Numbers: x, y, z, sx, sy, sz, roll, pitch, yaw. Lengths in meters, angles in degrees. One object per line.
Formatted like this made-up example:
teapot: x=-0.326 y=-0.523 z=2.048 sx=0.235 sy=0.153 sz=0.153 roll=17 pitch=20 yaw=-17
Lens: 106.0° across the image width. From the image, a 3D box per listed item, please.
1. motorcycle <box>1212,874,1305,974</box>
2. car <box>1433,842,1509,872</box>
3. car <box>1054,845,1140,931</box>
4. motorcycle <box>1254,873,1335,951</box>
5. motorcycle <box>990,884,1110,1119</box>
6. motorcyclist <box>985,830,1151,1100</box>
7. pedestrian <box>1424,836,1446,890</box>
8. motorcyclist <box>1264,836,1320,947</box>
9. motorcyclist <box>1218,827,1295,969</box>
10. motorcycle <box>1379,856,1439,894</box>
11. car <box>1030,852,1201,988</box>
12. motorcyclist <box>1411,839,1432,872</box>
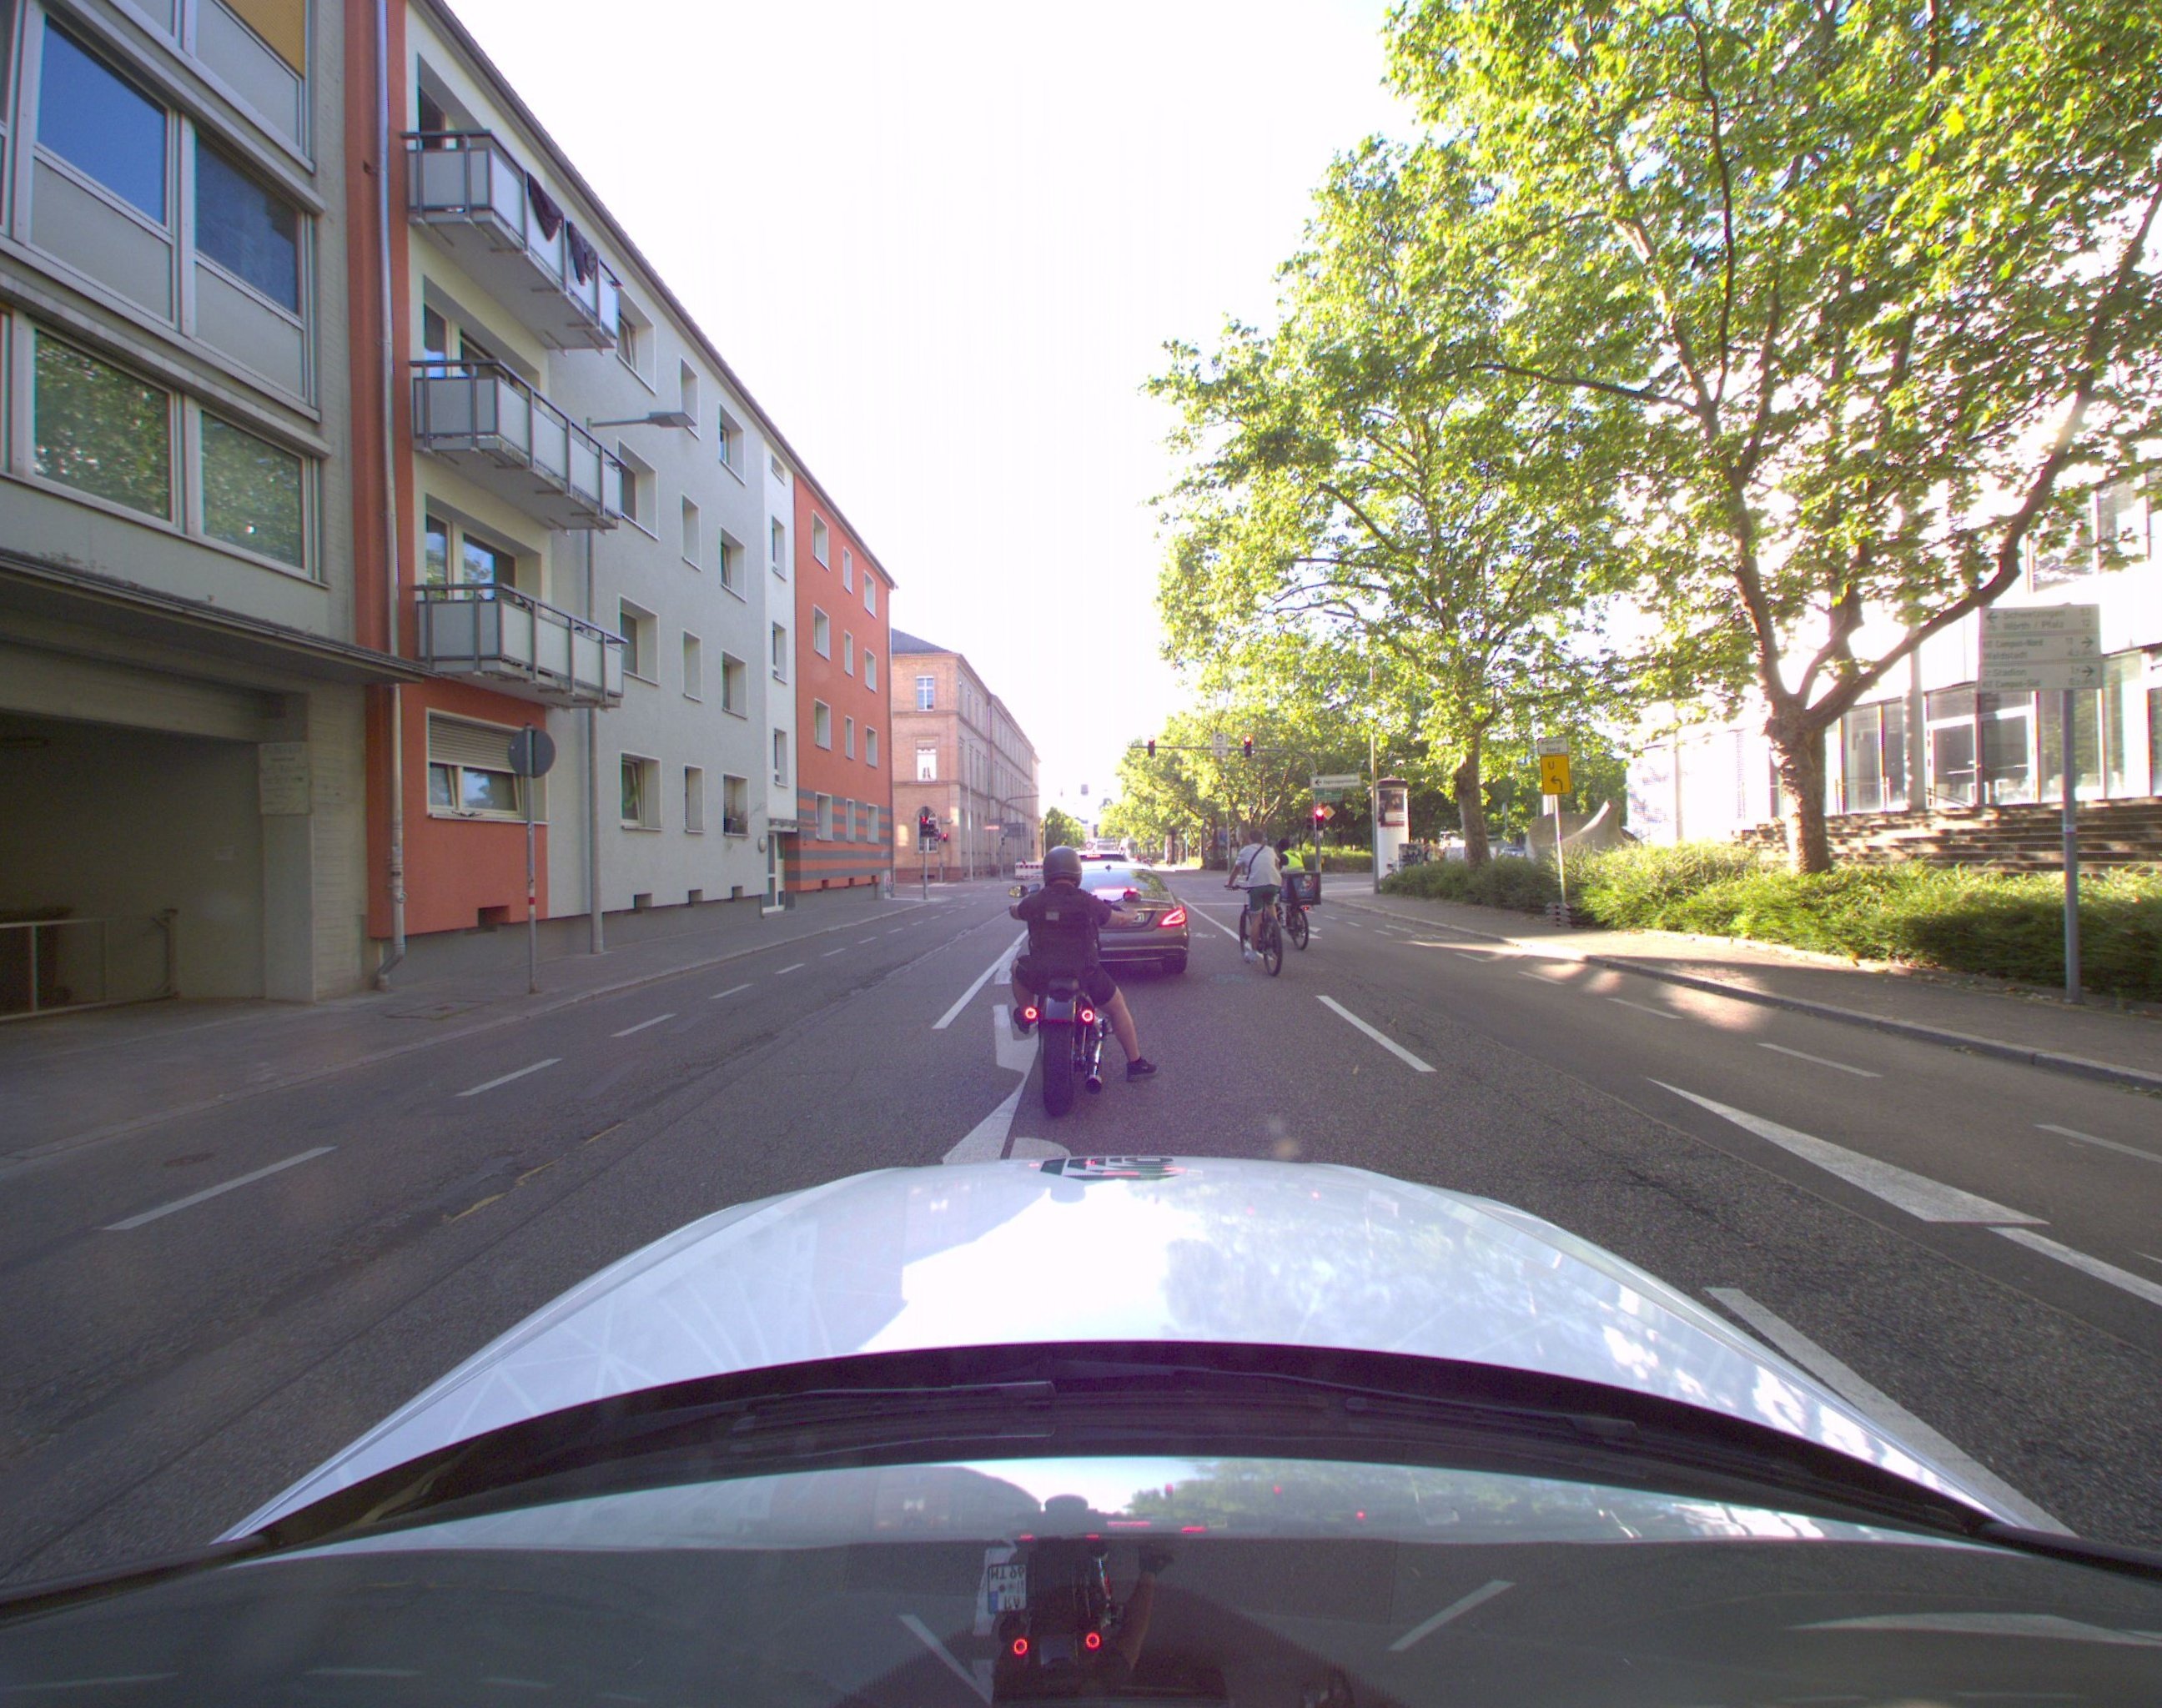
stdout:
motorcycle: x=2.285 y=0.865 z=10.761 sx=0.859 sy=1.168 sz=1.930 roll=0 pitch=-1 yaw=2
car: x=24.629 y=0.205 z=51.521 sx=3.974 sy=1.772 sz=1.738 roll=-1 pitch=0 yaw=-1
car: x=0.374 y=0.665 z=17.723 sx=1.645 sy=1.652 sz=4.002 roll=0 pitch=-1 yaw=2
motorcycle: x=3.461 y=0.898 z=13.410 sx=0.794 sy=1.131 sz=2.237 roll=0 pitch=-1 yaw=2
motorcycle: x=-0.141 y=0.854 z=5.539 sx=0.657 sy=1.240 sz=2.058 roll=0 pitch=-1 yaw=2
motorcyclist: x=-0.061 y=0.670 z=5.446 sx=0.986 sy=1.611 sz=1.121 roll=0 pitch=-1 yaw=1
pedestrian: x=12.157 y=0.296 z=27.983 sx=0.642 sy=1.827 sz=0.671 roll=-1 pitch=0 yaw=23
motorcyclist: x=3.423 y=0.599 z=13.255 sx=0.714 sy=1.743 sz=0.751 roll=0 pitch=-1 yaw=1
motorcyclist: x=2.295 y=0.556 z=10.761 sx=0.828 sy=1.788 sz=0.913 roll=0 pitch=-1 yaw=1
motorcycle: x=11.071 y=0.711 z=27.542 sx=1.771 sy=1.243 sz=0.724 roll=0 pitch=-1 yaw=7
car: x=0.262 y=0.744 z=11.241 sx=1.821 sy=1.486 sz=4.325 roll=0 pitch=-1 yaw=-5
motorcyclist: x=19.718 y=0.099 z=47.171 sx=0.978 sy=1.876 sz=0.377 roll=-1 pitch=-1 yaw=6
